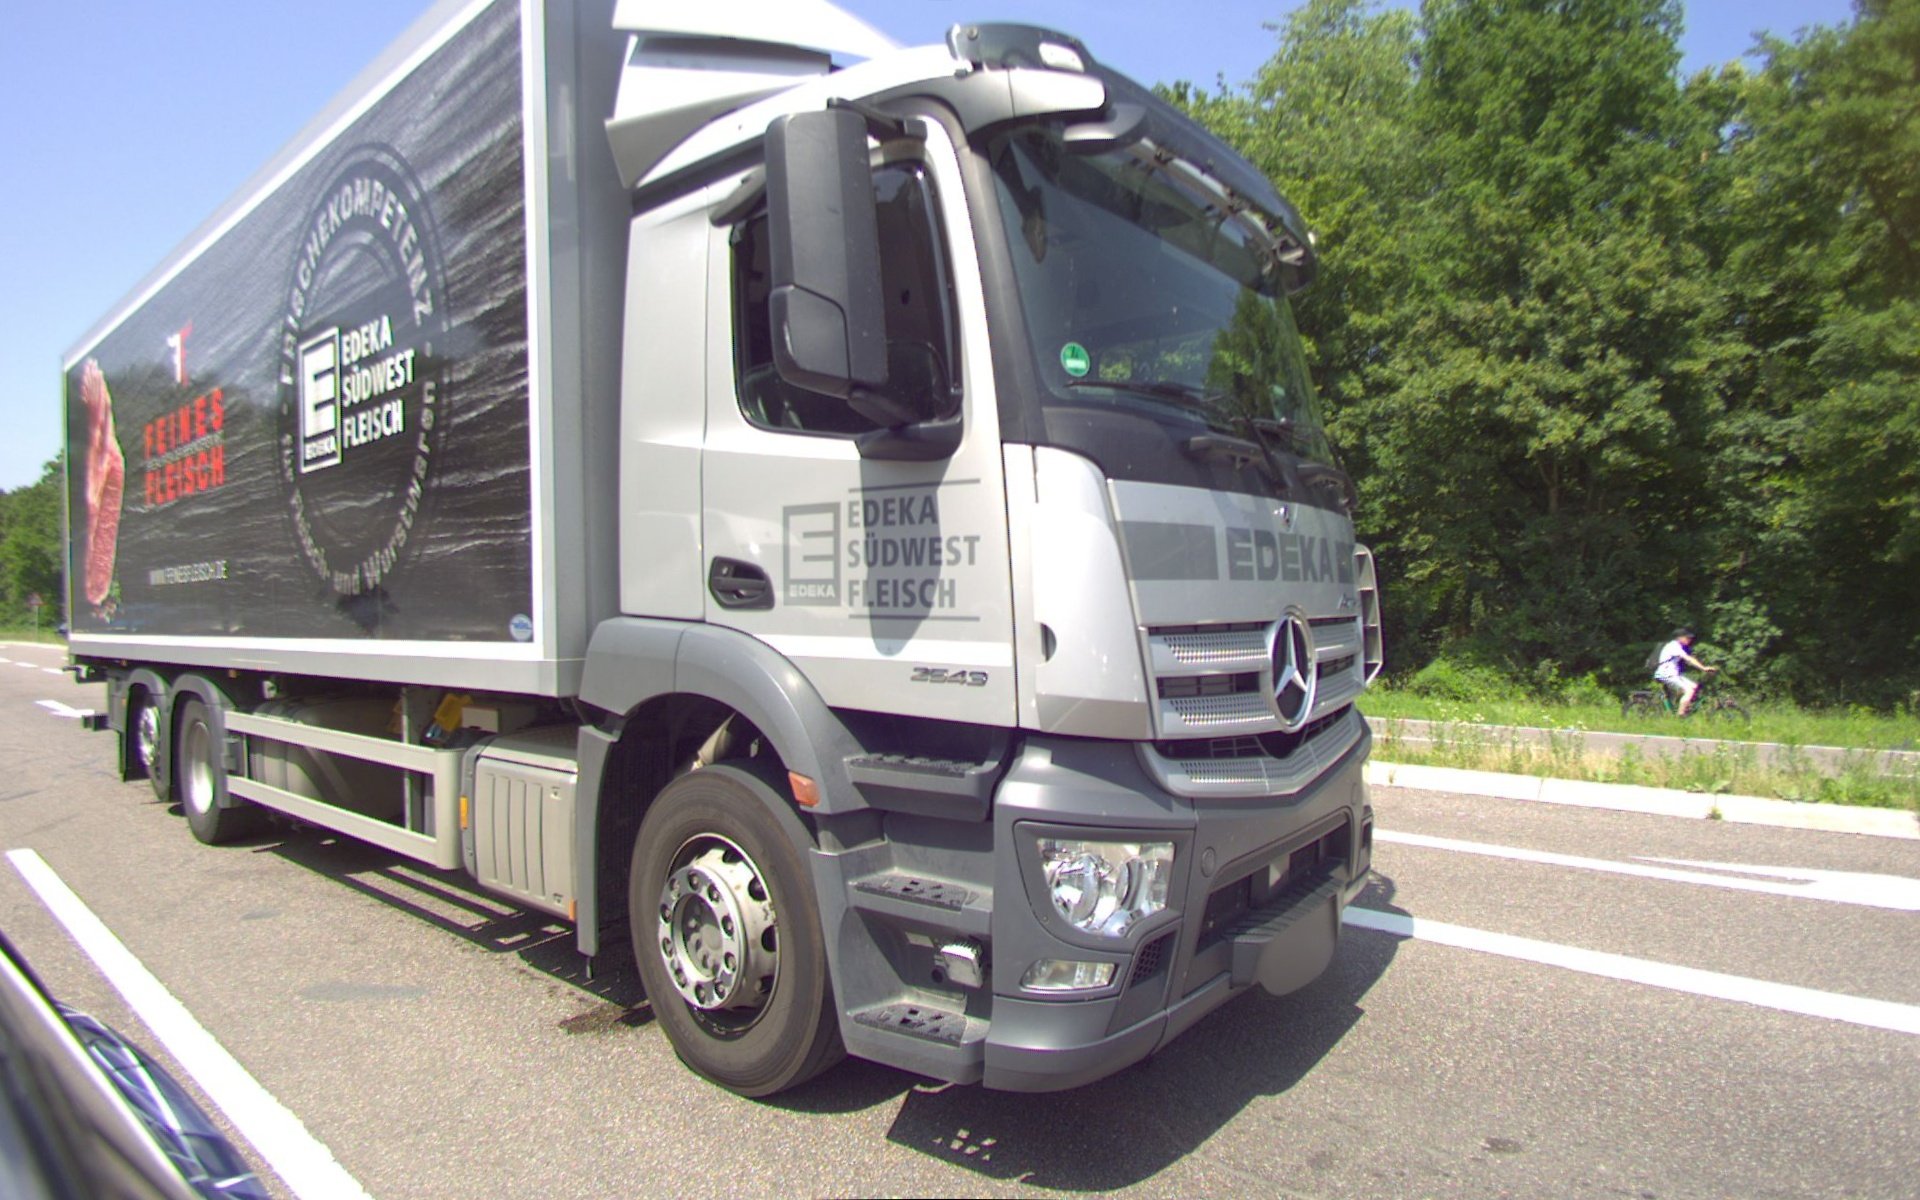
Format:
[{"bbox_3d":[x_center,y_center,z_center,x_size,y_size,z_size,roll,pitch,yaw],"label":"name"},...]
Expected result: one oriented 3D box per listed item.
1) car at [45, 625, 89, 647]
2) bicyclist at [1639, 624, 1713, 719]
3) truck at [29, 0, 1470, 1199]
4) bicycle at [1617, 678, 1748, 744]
[{"bbox_3d":[-69.023,2.784,78.195,3.997,1.564,1.973,-1,0,40],"label":"car"},{"bbox_3d":[11.478,1.119,16.233,0.651,1.476,0.811,2,-2,-40],"label":"bicyclist"},{"bbox_3d":[-3.192,-0.512,6.620,11.309,3.914,2.719,-1,-1,39],"label":"truck"},{"bbox_3d":[11.524,1.749,16.176,0.558,0.930,1.608,2,-2,-40],"label":"bicycle"}]
